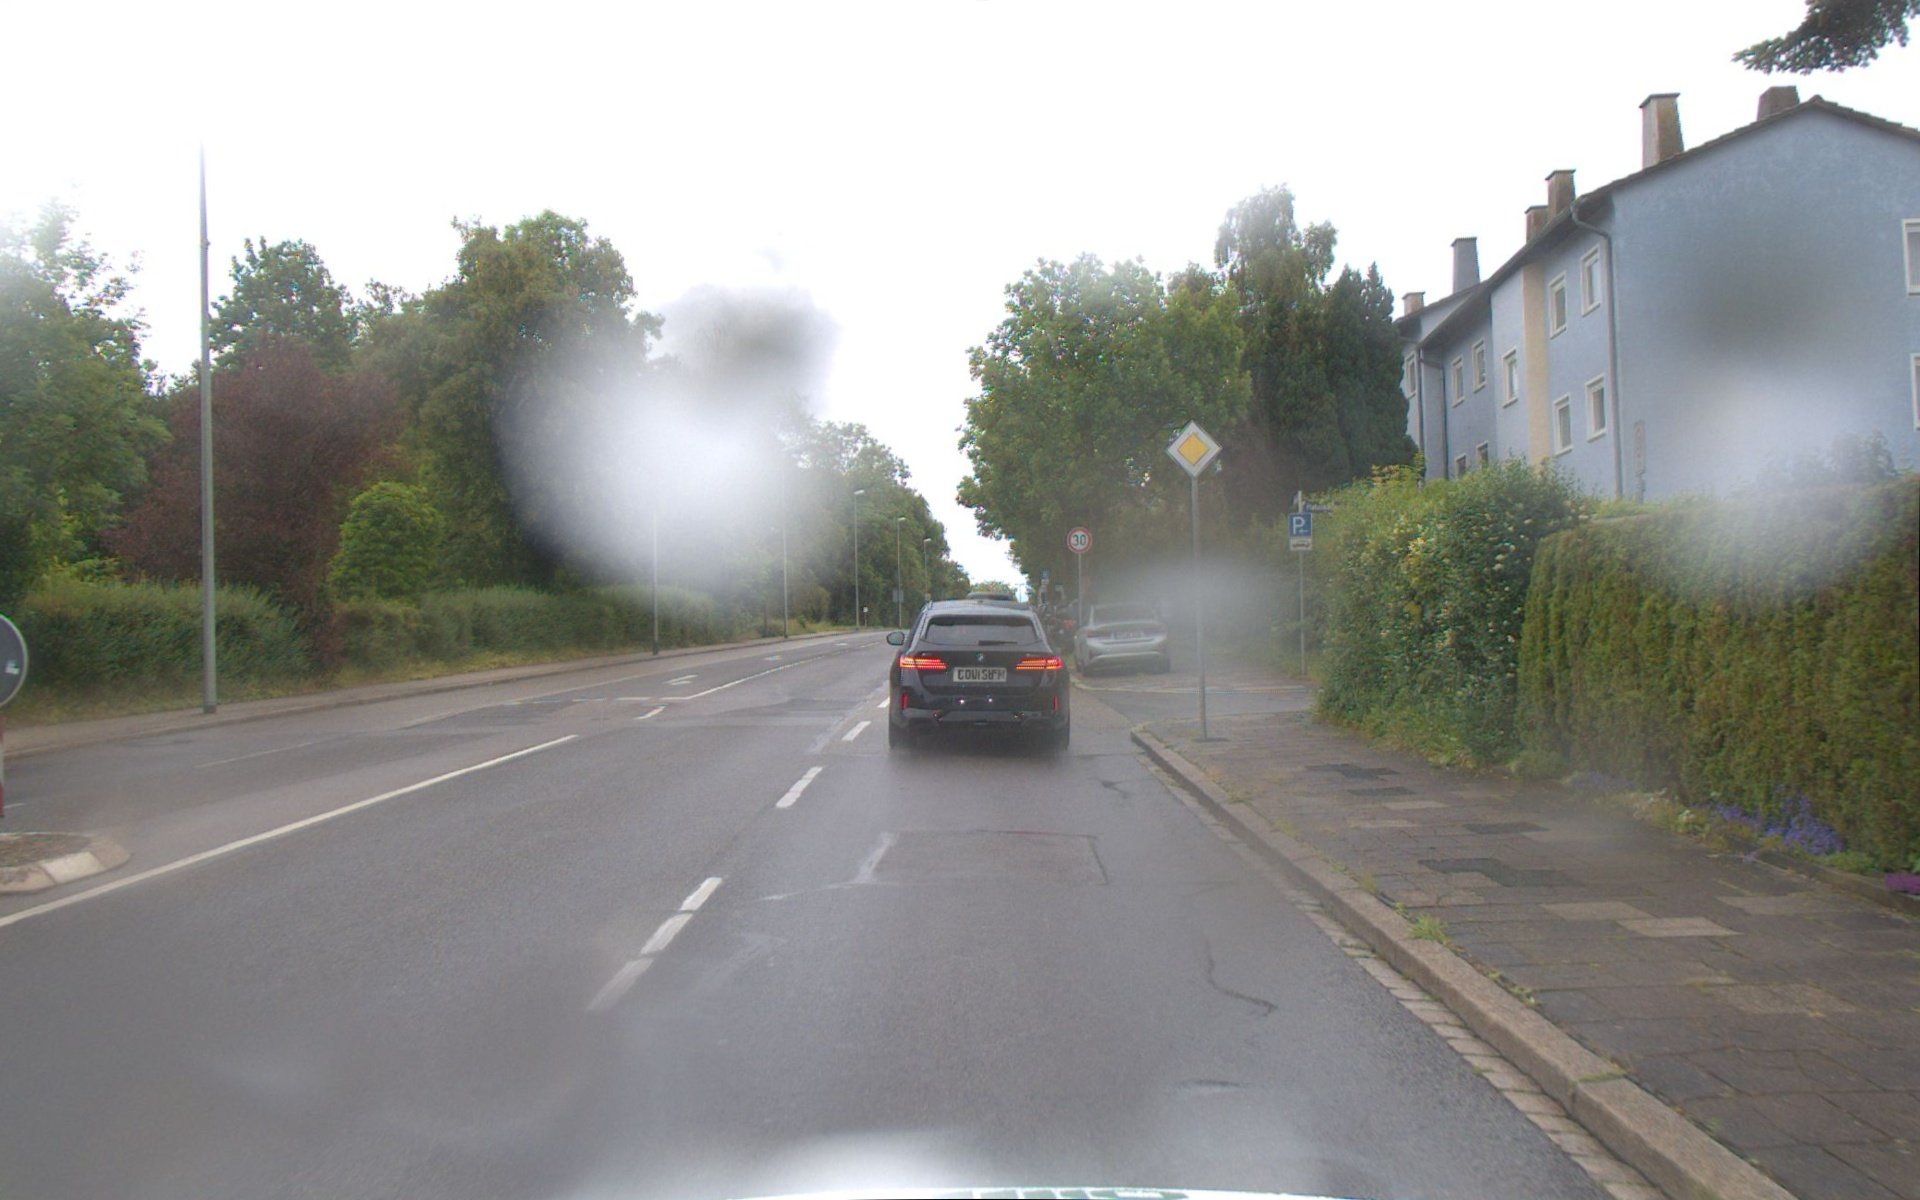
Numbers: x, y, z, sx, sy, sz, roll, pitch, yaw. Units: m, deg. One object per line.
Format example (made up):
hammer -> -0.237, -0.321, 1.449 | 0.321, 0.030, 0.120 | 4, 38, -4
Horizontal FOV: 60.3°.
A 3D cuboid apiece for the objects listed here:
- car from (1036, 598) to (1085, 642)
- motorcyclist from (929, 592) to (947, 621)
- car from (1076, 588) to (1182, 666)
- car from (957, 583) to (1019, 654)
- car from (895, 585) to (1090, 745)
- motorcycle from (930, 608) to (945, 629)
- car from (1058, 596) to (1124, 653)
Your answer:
car -> 3.662, 0.701, 60.646 | 1.557, 1.512, 3.562 | -2, 0, 0
motorcyclist -> -1.265, 0.360, 93.681 | 1.018, 1.595, 0.855 | 0, 0, -1
car -> 3.449, 0.517, 34.467 | 1.895, 1.467, 4.409 | -1, 0, 2
car -> 0.765, 0.490, 47.189 | 1.596, 1.865, 4.000 | -2, 1, -1
car -> 0.335, 0.615, 17.891 | 1.858, 1.515, 4.000 | 1, 0, 0
motorcycle -> -1.272, 1.023, 93.617 | 0.858, 1.144, 2.740 | 0, 0, -1
car -> 3.664, 0.654, 46.743 | 1.557, 1.486, 3.562 | -2, 0, 0
